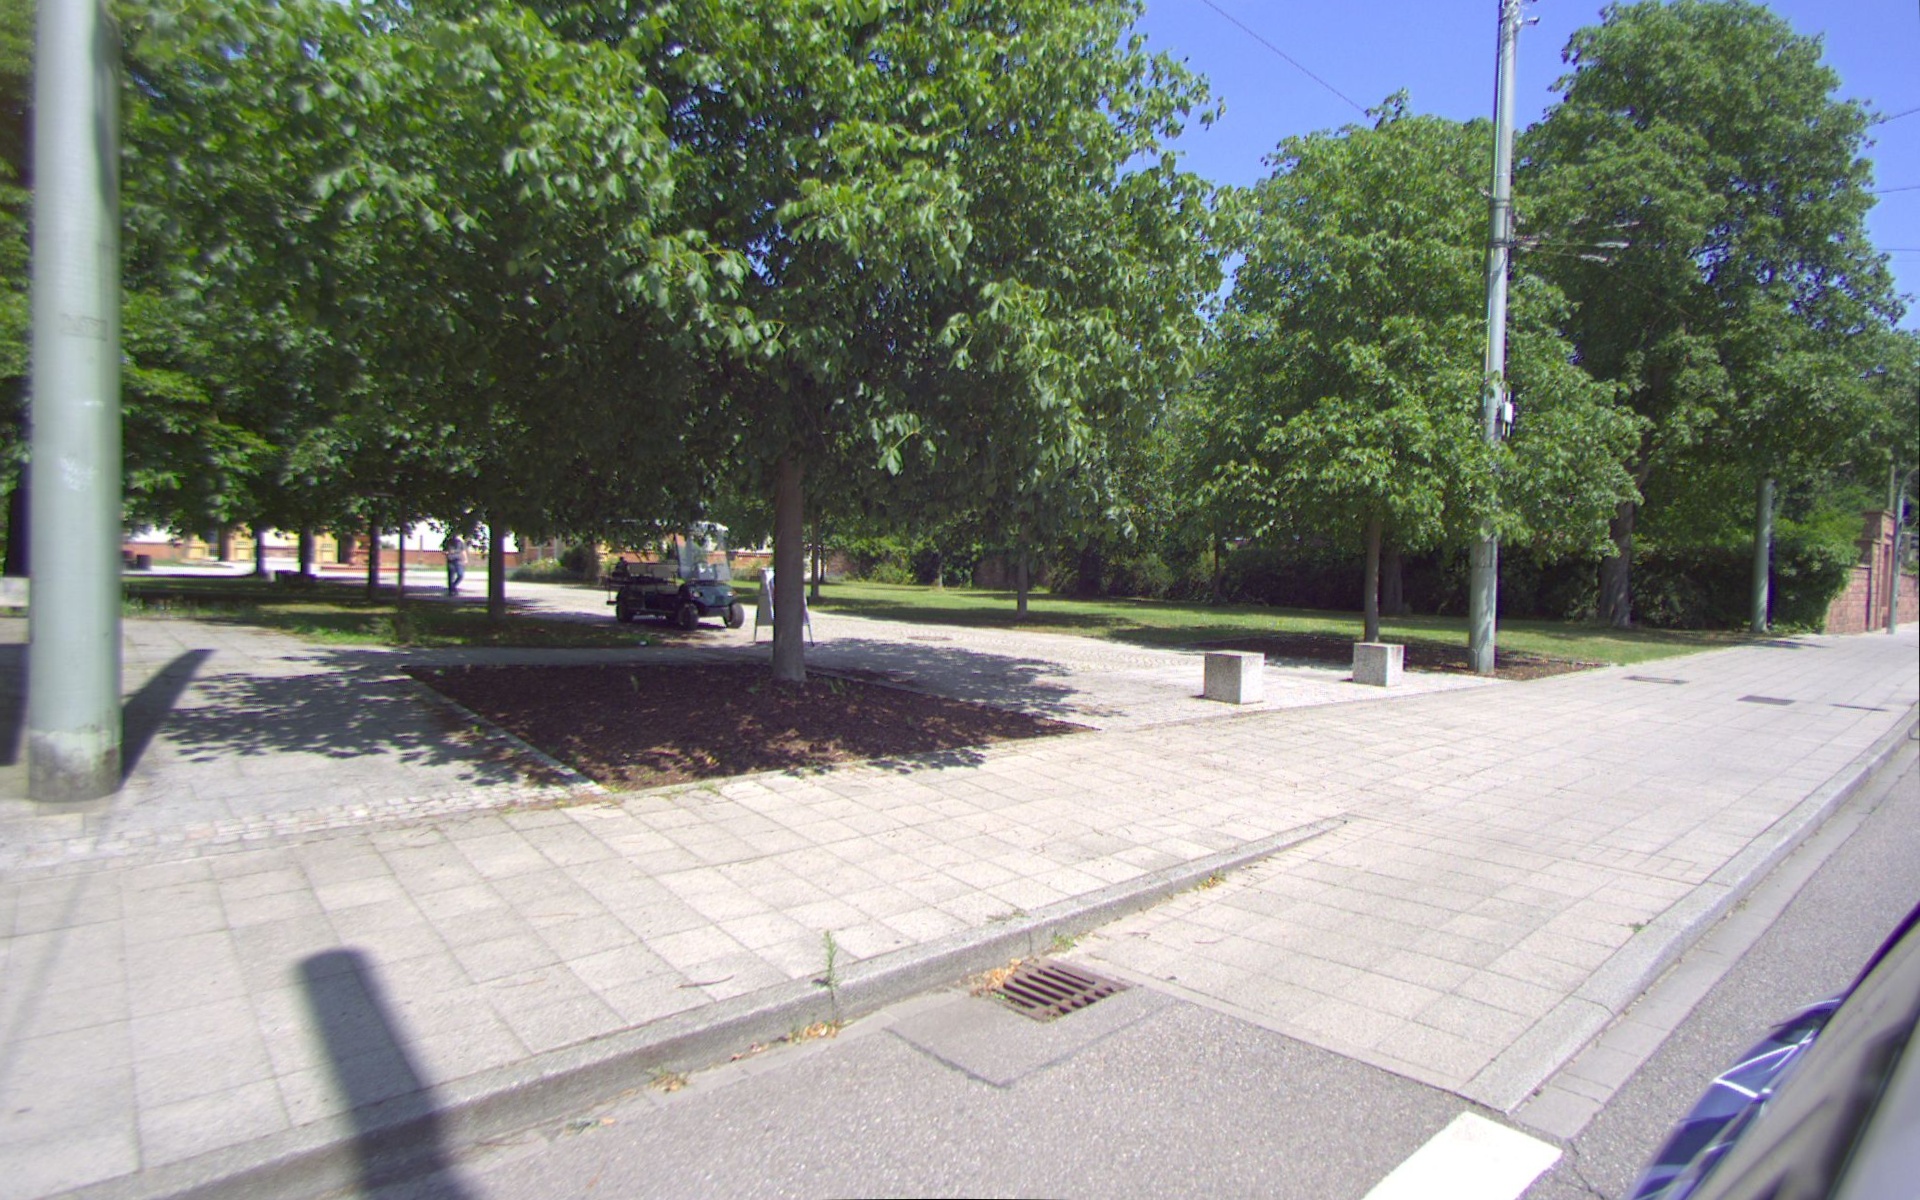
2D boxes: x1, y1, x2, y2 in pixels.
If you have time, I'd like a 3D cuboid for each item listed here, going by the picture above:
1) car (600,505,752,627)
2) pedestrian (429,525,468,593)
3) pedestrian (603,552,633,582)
[{"bbox_3d":[-5.297,-0.677,18.636,1.439,2.038,3.339,-2,4,-40],"label":"car"},{"bbox_3d":[-14.062,-1.130,27.827,0.756,1.815,0.773,0,3,-43],"label":"pedestrian"},{"bbox_3d":[-13.304,-1.301,39.367,0.817,1.127,0.795,0,3,-41],"label":"pedestrian"}]
